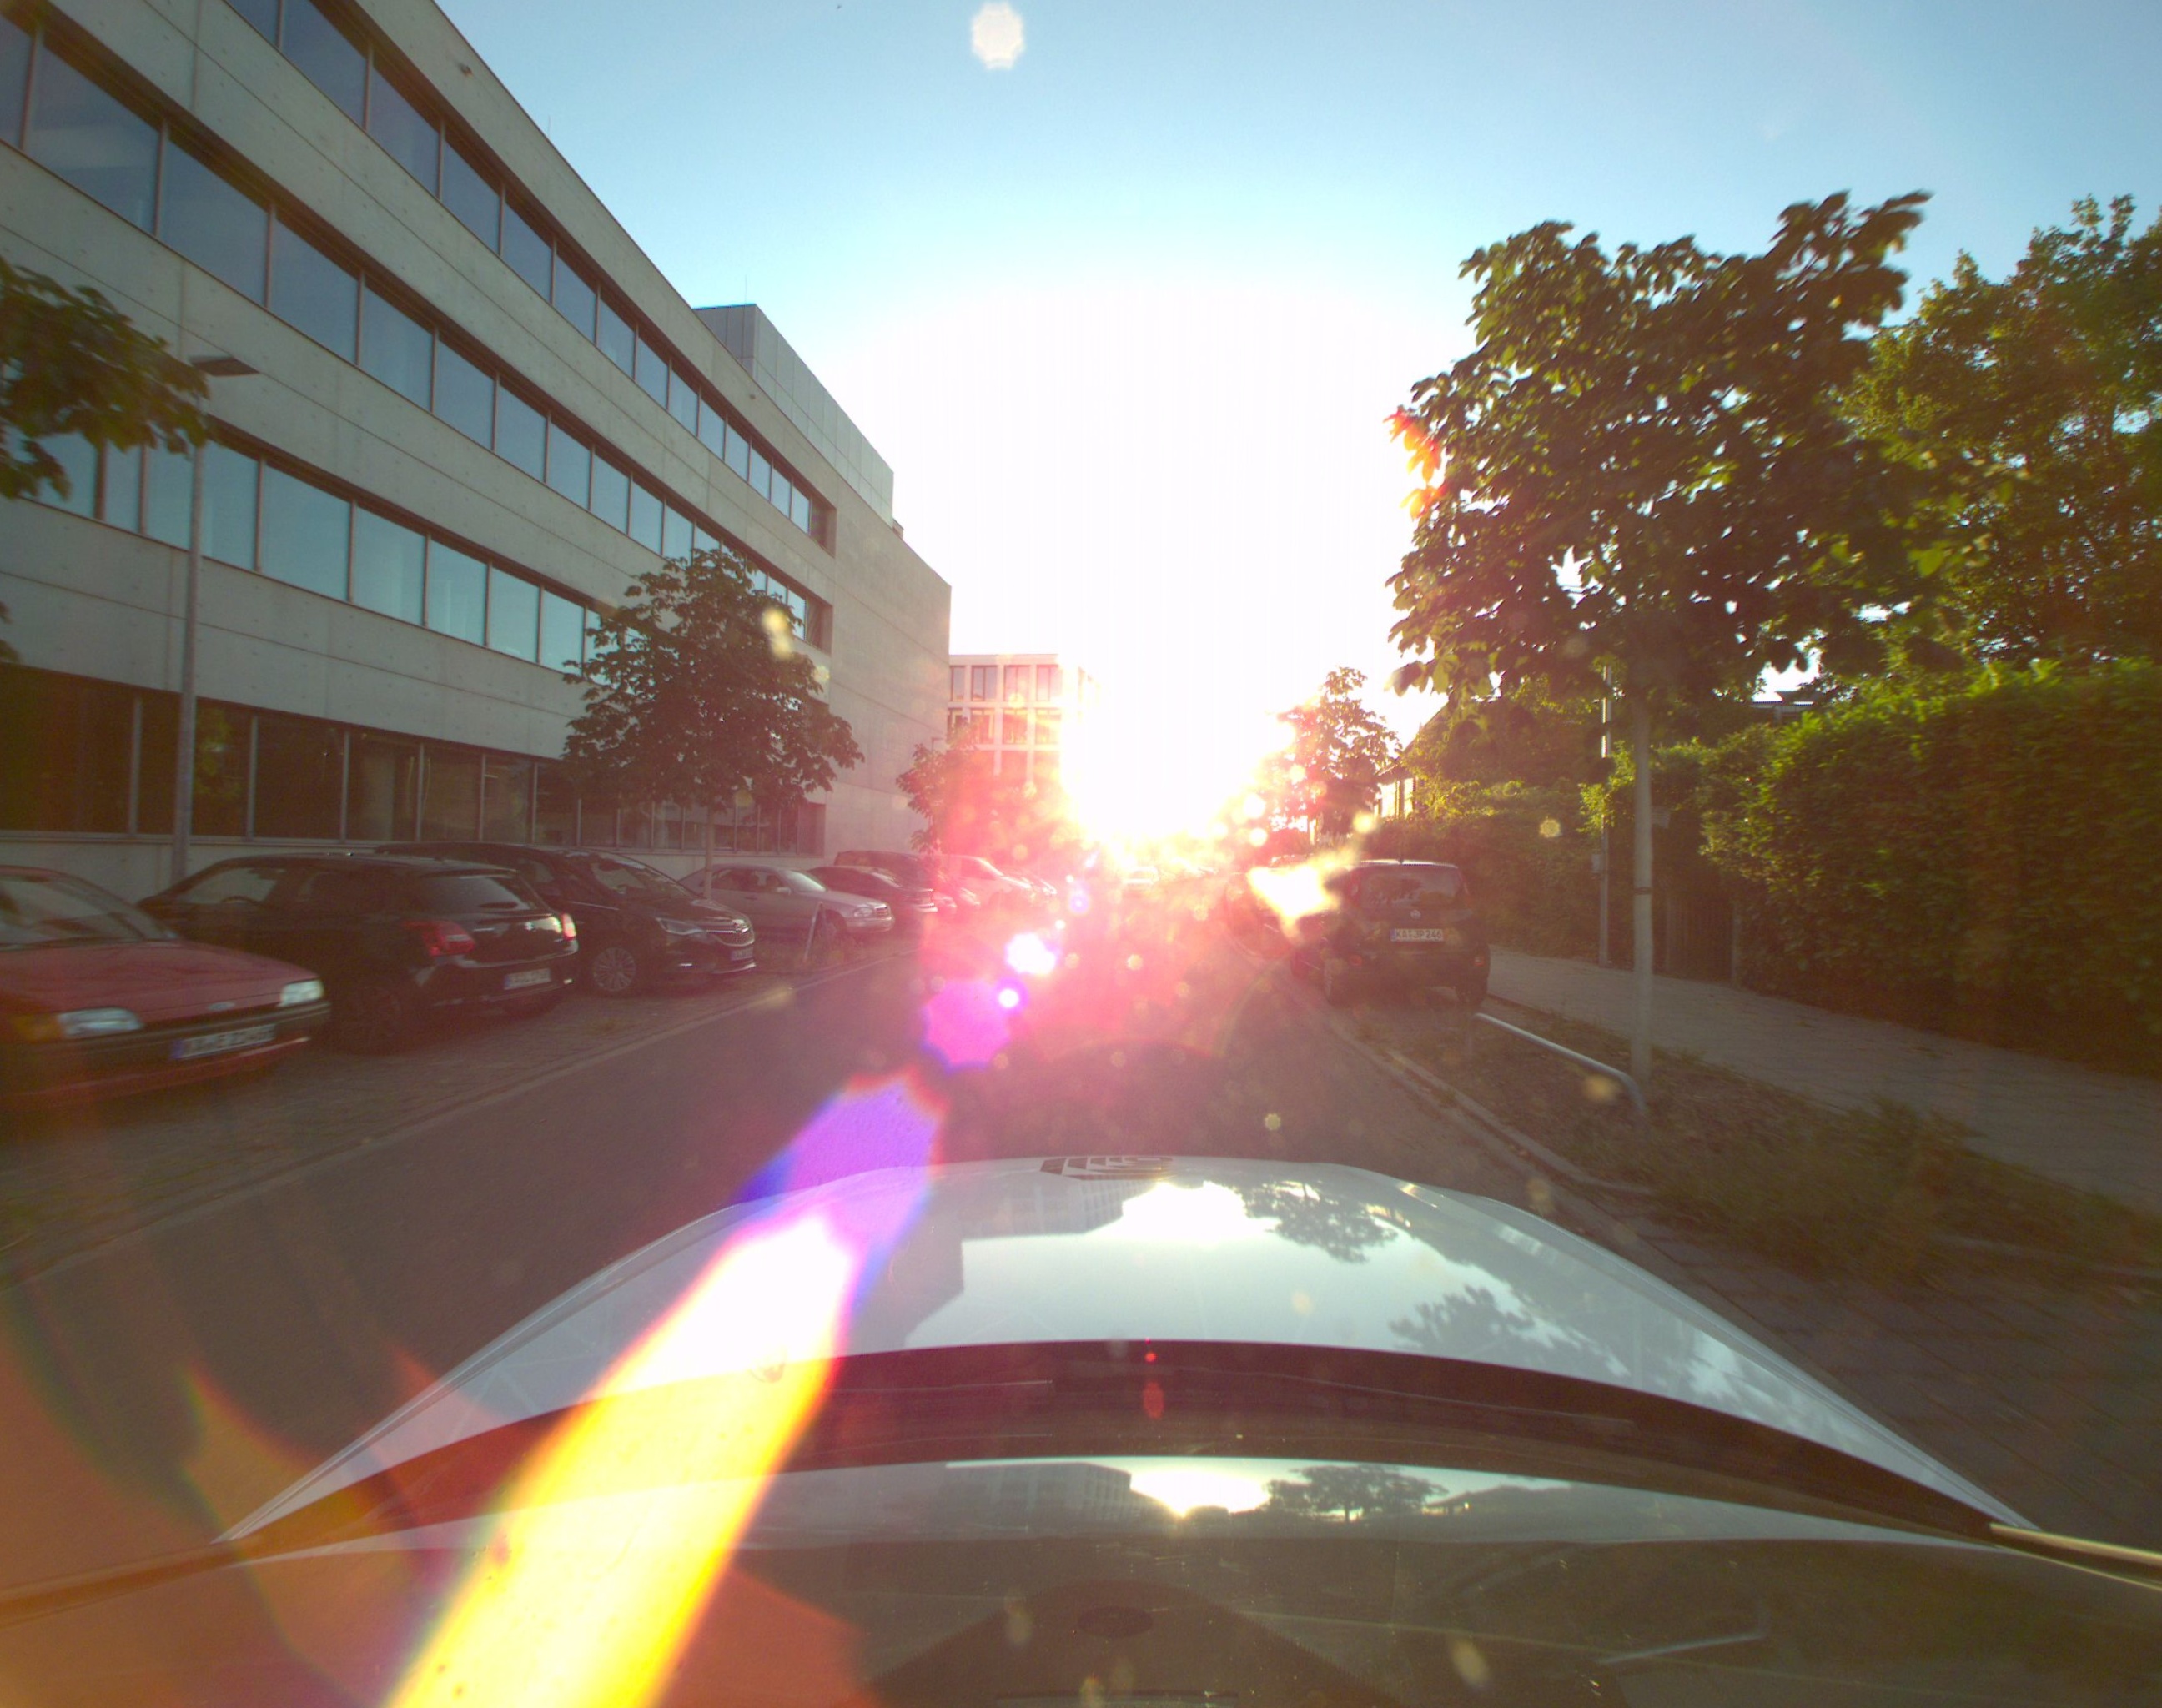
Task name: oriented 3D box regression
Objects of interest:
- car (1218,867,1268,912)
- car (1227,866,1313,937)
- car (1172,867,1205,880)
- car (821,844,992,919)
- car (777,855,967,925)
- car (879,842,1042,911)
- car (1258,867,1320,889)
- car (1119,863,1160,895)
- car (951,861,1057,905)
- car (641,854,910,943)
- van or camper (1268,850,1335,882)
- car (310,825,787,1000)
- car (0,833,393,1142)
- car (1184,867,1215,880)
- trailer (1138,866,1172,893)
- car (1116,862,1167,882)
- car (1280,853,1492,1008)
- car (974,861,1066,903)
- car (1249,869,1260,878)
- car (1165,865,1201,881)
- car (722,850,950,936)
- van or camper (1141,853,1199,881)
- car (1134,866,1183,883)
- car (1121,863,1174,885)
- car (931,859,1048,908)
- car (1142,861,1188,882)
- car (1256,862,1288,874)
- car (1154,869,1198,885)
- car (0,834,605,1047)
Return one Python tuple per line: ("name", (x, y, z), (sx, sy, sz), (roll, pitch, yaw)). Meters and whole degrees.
("car", (6.356, 1.316, 31.713), (1.712, 1.580, 4.613), (1, -1, 12))
("car", (4.485, 1.059, 19.789), (1.683, 1.510, 4.202), (0, -1, 8))
("car", (12.167, 2.203, 92.461), (3.533, 1.479, 1.464), (-1, 0, 15))
("car", (-4.823, 0.751, 22.861), (4.225, 1.742, 1.727), (3, -1, 6))
("car", (-5.125, 0.877, 20.273), (4.122, 1.404, 1.727), (3, -1, 6))
("car", (-4.041, 0.760, 27.750), (5.049, 1.947, 1.892), (3, -1, 7))
("car", (14.370, 1.668, 56.445), (4.025, 1.479, 1.772), (0, 0, 10))
("car", (3.326, 1.421, 45.623), (1.941, 1.686, 4.732), (0, -2, 8))
("car", (-3.059, 1.131, 32.768), (3.864, 1.488, 1.655), (3, 0, 8))
("car", (-5.706, 0.786, 15.502), (4.411, 1.464, 1.766), (2, 0, 6))
("van or camper", (19.427, 1.043, 71.946), (5.574, 2.790, 2.437), (-1, 0, 10))
("car", (-6.003, 0.627, 9.573), (4.291, 1.696, 1.897), (2, -1, 2))
("car", (-6.655, 0.600, 4.791), (3.689, 1.458, 1.712), (2, -1, 1))
("car", (14.273, 2.384, 98.431), (3.533, 1.479, 1.464), (-1, 0, 15))
("trailer", (4.602, 1.528, 50.216), (1.695, 1.348, 3.497), (3, 2, 10))
("car", (5.129, 1.499, 68.916), (4.020, 1.479, 1.774), (3, 0, 15))
("car", (3.441, 0.780, 9.815), (1.569, 1.510, 3.502), (0, -1, 6))
("car", (-2.645, 1.208, 35.787), (3.610, 1.577, 1.667), (3, 0, 13))
("car", (34.713, 3.871, 162.774), (1.936, 1.585, 3.653), (1, -1, 13))
("car", (10.730, 1.989, 85.446), (3.533, 1.652, 1.464), (-1, 0, 15))
("car", (-5.320, 0.821, 17.937), (4.370, 1.499, 1.768), (3, -1, 10))
("van or camper", (8.828, 1.226, 80.996), (5.412, 2.484, 1.782), (3, 0, 15))
("car", (6.810, 1.790, 71.265), (4.020, 1.479, 1.775), (-1, 0, 15))
("car", (5.370, 1.582, 65.572), (4.023, 1.479, 1.773), (3, 1, 12))
("car", (-3.369, 1.079, 30.457), (3.966, 1.522, 1.608), (3, -1, 6))
("car", (7.866, 1.615, 76.085), (4.024, 1.908, 1.741), (-1, 0, 11))
("car", (27.011, 1.980, 115.538), (4.315, 1.644, 1.821), (-1, 0, 10))
("car", (9.159, 2.200, 78.253), (4.024, 1.524, 1.741), (-1, 0, 11))
("car", (-6.439, 0.649, 6.960), (3.687, 1.458, 1.680), (2, -1, 2))
